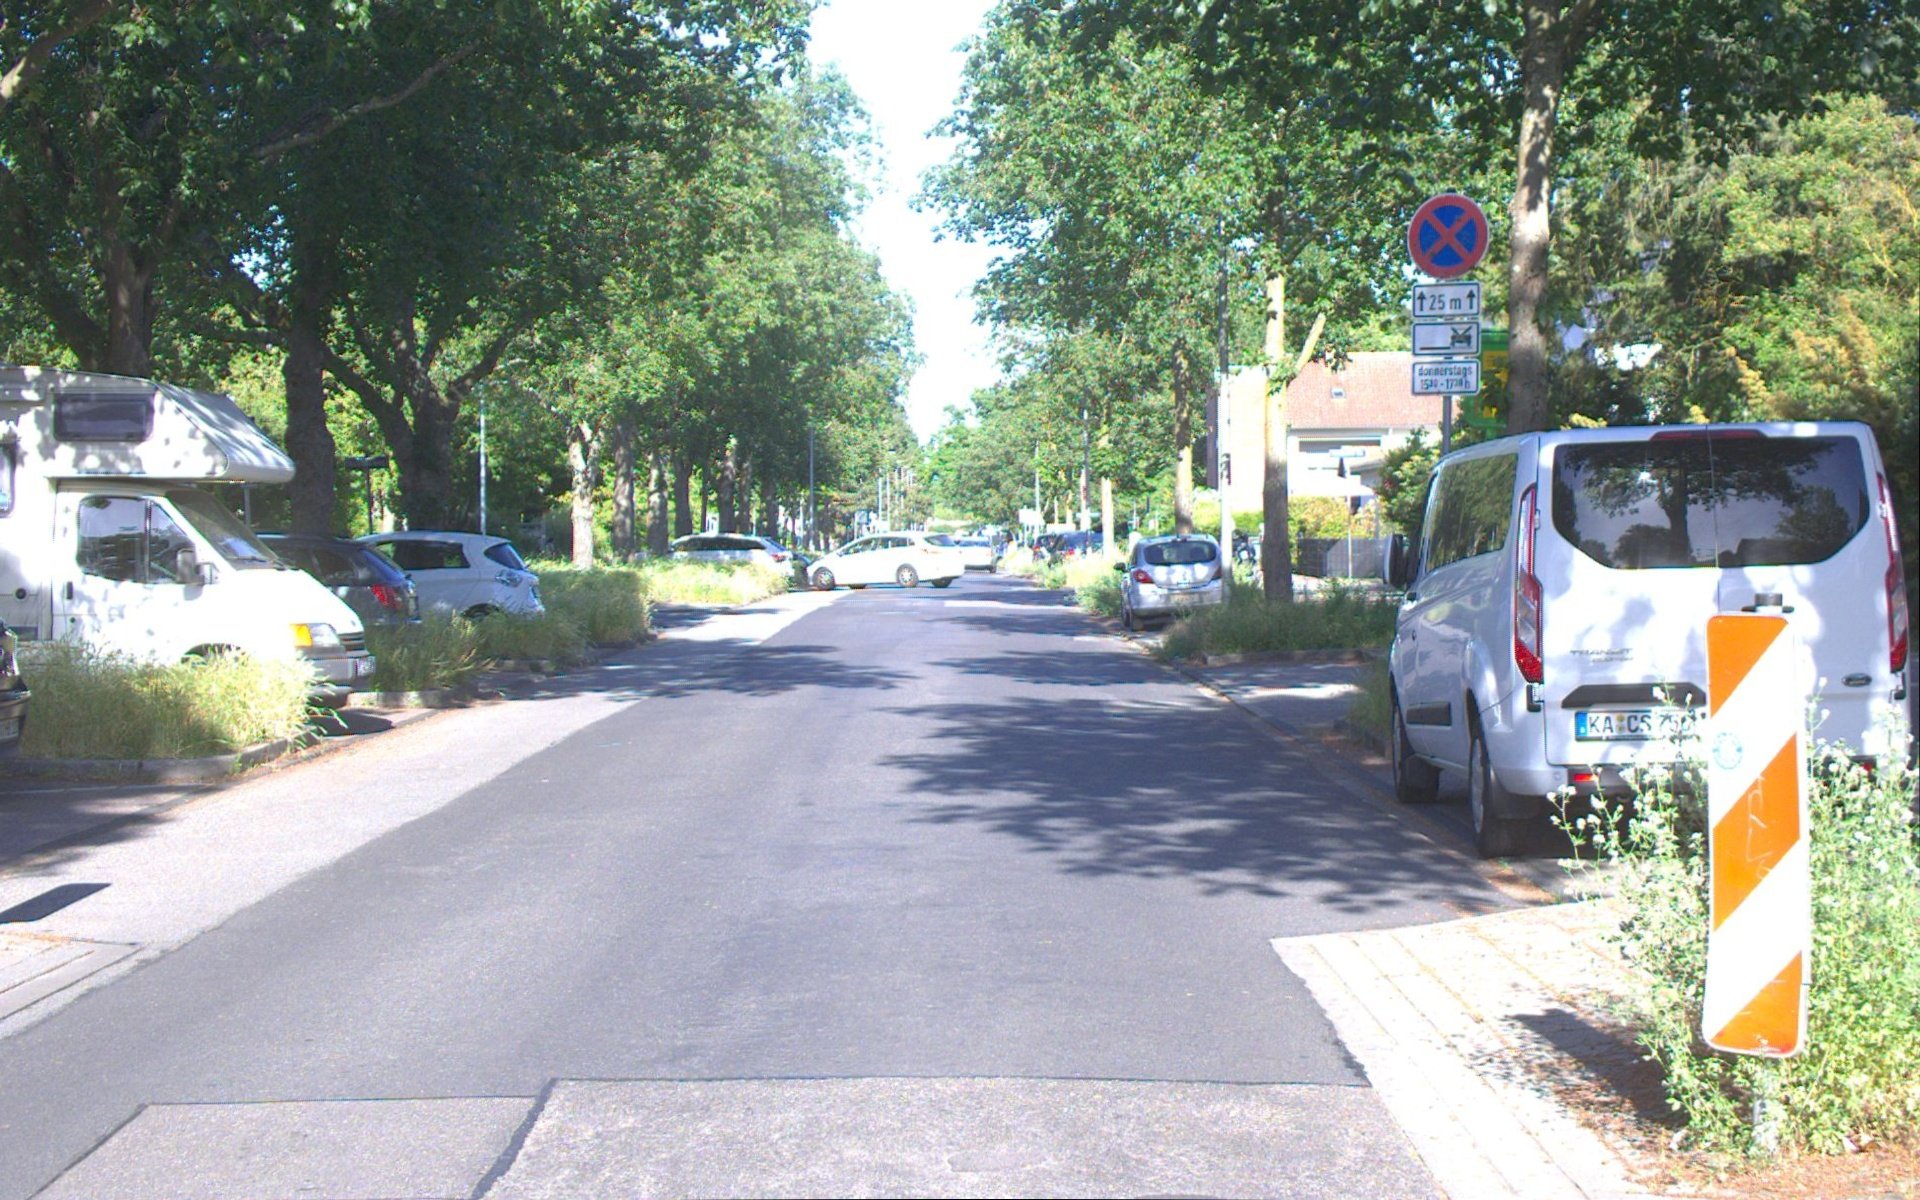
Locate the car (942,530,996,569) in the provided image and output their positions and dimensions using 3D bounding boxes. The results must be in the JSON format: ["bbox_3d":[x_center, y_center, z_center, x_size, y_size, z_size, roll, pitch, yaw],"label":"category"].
[{"bbox_3d":[0.365,-2.111,143.675,1.993,1.503,3.659,3,1,-3],"label":"car"}]

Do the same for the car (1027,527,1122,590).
[{"bbox_3d":[3.149,-1.149,95.270,1.993,1.616,4.382,3,1,-6],"label":"car"}]

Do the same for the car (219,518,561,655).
[{"bbox_3d":[-7.119,-0.190,43.225,3.987,1.655,1.967,0,1,-1],"label":"car"}]

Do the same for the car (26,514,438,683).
[{"bbox_3d":[-7.817,-0.027,37.209,3.987,1.583,2.000,3,0,-1],"label":"car"}]

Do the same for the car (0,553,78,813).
[{"bbox_3d":[-7.287,0.393,19.677,3.987,1.445,1.639,2,0,4],"label":"car"}]

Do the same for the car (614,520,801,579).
[{"bbox_3d":[-6.539,-1.312,89.484,4.671,1.498,2.000,0,1,2],"label":"car"}]

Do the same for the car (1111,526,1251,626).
[{"bbox_3d":[3.579,-0.371,55.125,1.994,1.505,3.999,-1,0,7],"label":"car"}]

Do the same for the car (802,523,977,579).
[{"bbox_3d":[-1.858,-1.306,90.756,4.218,1.450,1.996,1,1,32],"label":"car"}]

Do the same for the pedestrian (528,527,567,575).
[{"bbox_3d":[-15.986,-1.904,133.246,1.224,1.821,1.551,1,0,-16],"label":"pedestrian"}]

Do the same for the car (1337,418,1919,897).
[{"bbox_3d":[3.321,0.230,17.668,1.993,2.007,5.197,3,1,-1],"label":"car"}]

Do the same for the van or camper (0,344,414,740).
[{"bbox_3d":[-7.336,-0.522,26.486,5.776,2.795,2.000,3,0,2],"label":"van or camper"}]

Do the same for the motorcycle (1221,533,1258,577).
[{"bbox_3d":[7.941,-1.284,97.688,0.818,1.223,2.352,-2,1,0],"label":"motorcycle"}]
